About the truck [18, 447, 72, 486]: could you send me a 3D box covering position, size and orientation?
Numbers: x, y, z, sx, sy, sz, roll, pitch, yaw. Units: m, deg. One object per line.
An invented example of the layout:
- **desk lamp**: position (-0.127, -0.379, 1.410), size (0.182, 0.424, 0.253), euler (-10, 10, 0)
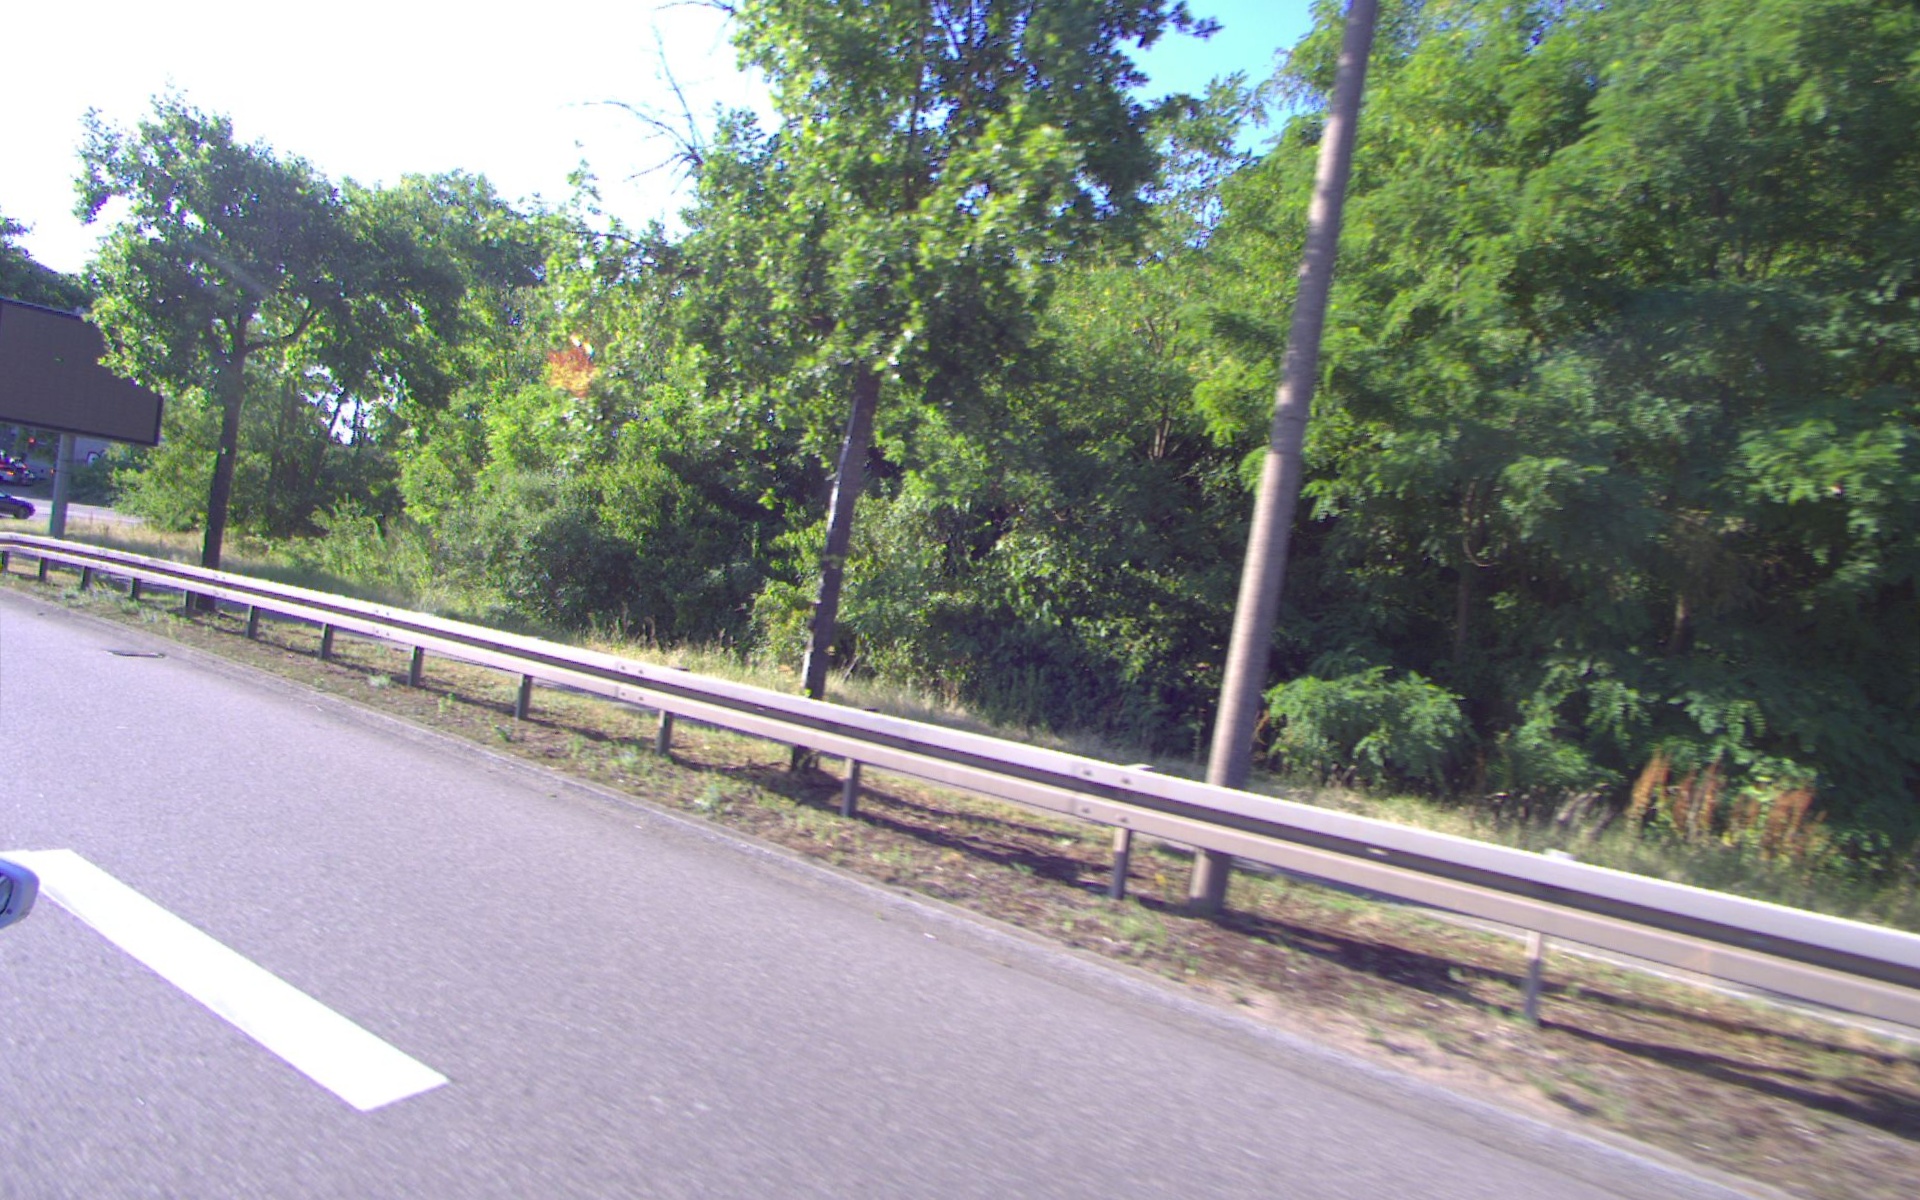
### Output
- **truck**: position (-76.745, -11.136, 84.426), size (2.095, 2.549, 4.370), euler (8, -1, -28)

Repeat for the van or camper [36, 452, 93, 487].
- **van or camper**: position (-85.452, -12.432, 96.115), size (1.975, 2.601, 5.885), euler (9, 0, -23)

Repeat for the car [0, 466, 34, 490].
- **car**: position (-73.278, -9.451, 77.525), size (1.757, 1.513, 3.805), euler (8, 0, -27)

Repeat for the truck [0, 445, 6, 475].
- **truck**: position (-85.309, -12.487, 87.158), size (2.011, 2.587, 5.500), euler (9, 0, -26)

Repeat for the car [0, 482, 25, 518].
- **car**: position (-43.933, -4.582, 44.213), size (1.964, 1.527, 3.995), euler (6, 1, -3)
